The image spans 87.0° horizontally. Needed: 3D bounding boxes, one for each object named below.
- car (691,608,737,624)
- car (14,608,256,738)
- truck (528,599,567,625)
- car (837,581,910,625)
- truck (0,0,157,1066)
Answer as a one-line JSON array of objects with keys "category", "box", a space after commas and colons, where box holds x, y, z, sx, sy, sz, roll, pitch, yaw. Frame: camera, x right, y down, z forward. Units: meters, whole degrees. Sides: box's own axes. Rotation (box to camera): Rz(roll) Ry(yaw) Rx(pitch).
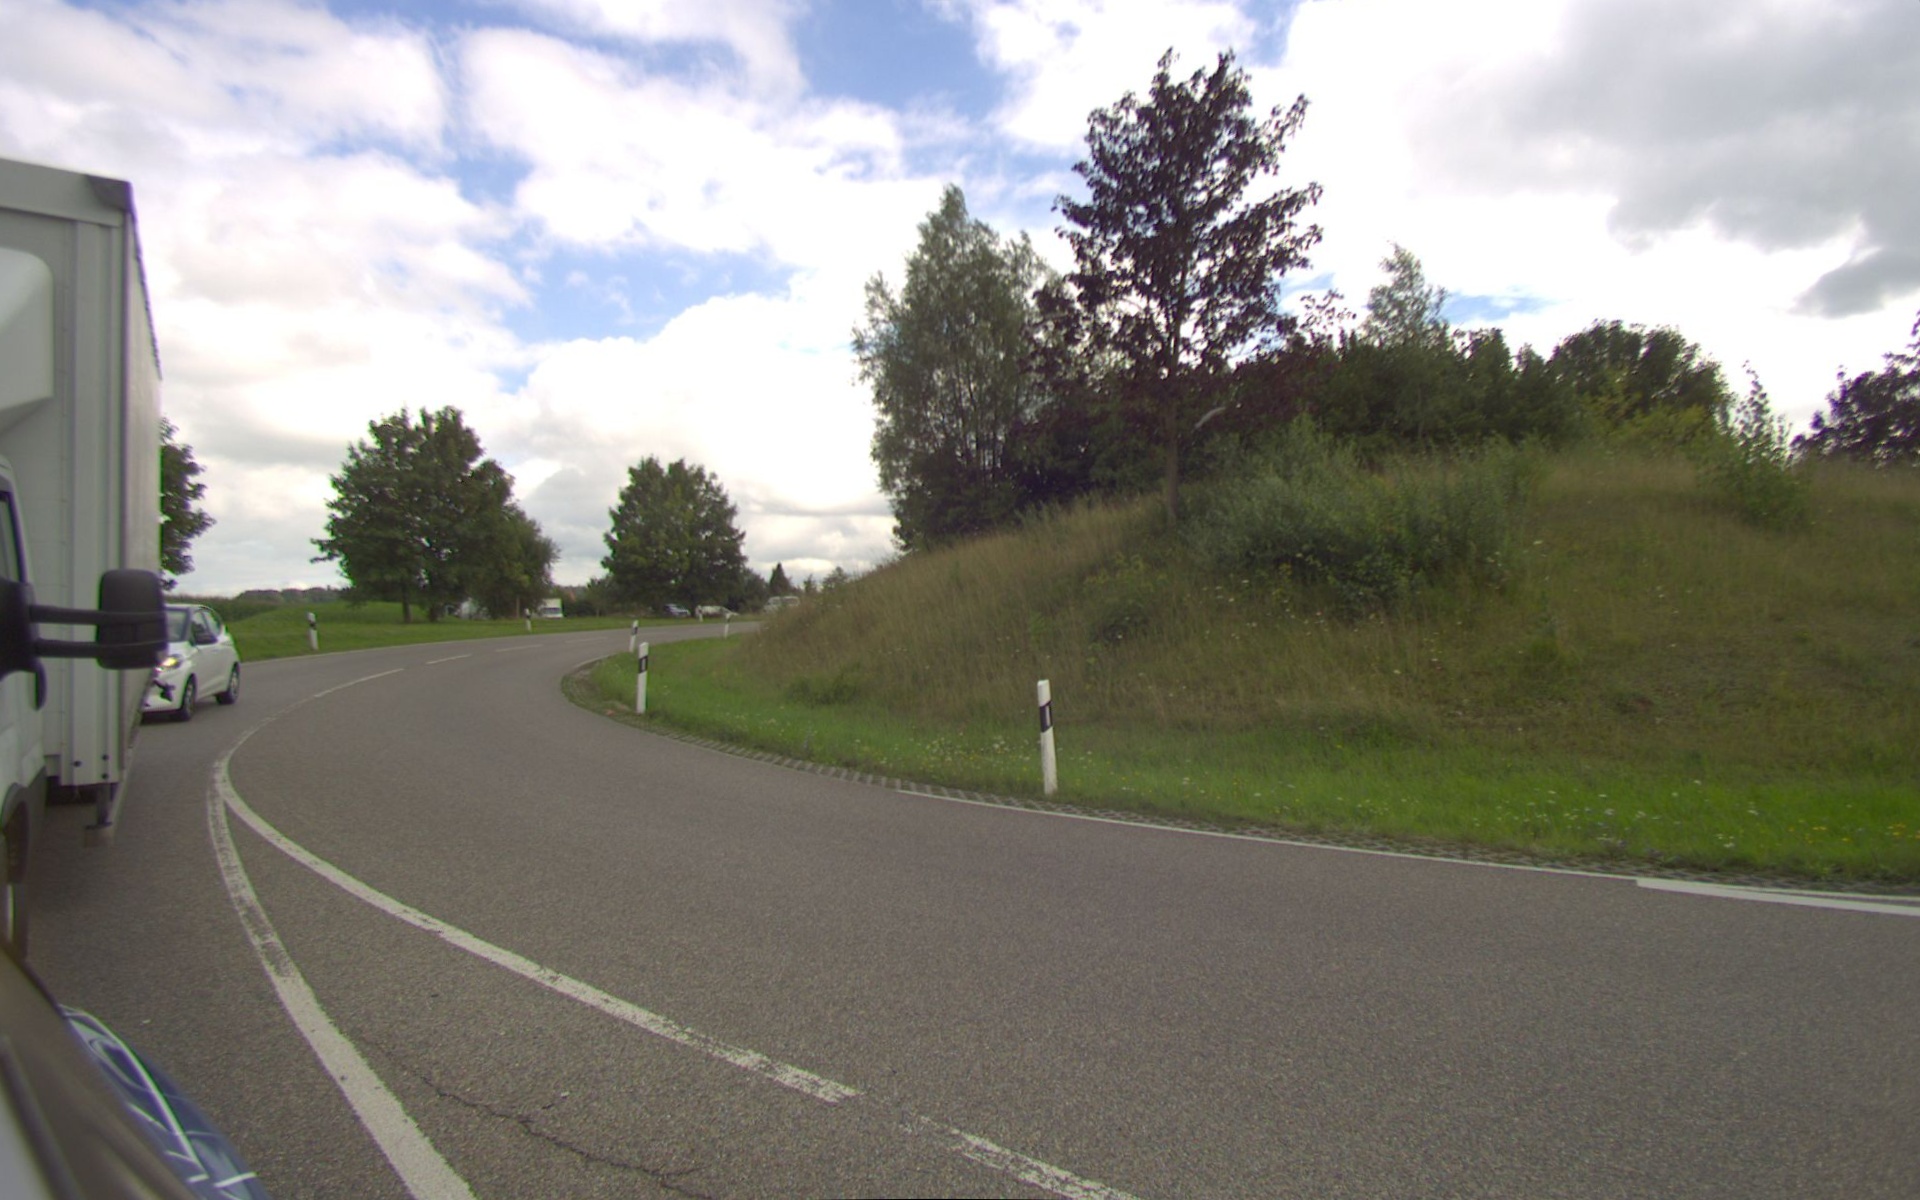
[{"category": "car", "box": [-25.598, 1.664, 105.359, 4.328, 1.597, 2.007, -1, -1, -23]}, {"category": "car", "box": [-11.188, 0.898, 14.047, 1.721, 1.477, 4.013, -1, -1, -26]}, {"category": "truck", "box": [-40.799, 1.205, 99.974, 2.254, 2.439, 6.398, -1, -1, -34]}, {"category": "car", "box": [-5.413, 0.233, 64.106, 1.994, 2.650, 5.065, 0, -2, 32]}, {"category": "truck", "box": [-6.334, -0.479, 5.673, 2.793, 3.792, 8.816, 1, -2, -38]}]
